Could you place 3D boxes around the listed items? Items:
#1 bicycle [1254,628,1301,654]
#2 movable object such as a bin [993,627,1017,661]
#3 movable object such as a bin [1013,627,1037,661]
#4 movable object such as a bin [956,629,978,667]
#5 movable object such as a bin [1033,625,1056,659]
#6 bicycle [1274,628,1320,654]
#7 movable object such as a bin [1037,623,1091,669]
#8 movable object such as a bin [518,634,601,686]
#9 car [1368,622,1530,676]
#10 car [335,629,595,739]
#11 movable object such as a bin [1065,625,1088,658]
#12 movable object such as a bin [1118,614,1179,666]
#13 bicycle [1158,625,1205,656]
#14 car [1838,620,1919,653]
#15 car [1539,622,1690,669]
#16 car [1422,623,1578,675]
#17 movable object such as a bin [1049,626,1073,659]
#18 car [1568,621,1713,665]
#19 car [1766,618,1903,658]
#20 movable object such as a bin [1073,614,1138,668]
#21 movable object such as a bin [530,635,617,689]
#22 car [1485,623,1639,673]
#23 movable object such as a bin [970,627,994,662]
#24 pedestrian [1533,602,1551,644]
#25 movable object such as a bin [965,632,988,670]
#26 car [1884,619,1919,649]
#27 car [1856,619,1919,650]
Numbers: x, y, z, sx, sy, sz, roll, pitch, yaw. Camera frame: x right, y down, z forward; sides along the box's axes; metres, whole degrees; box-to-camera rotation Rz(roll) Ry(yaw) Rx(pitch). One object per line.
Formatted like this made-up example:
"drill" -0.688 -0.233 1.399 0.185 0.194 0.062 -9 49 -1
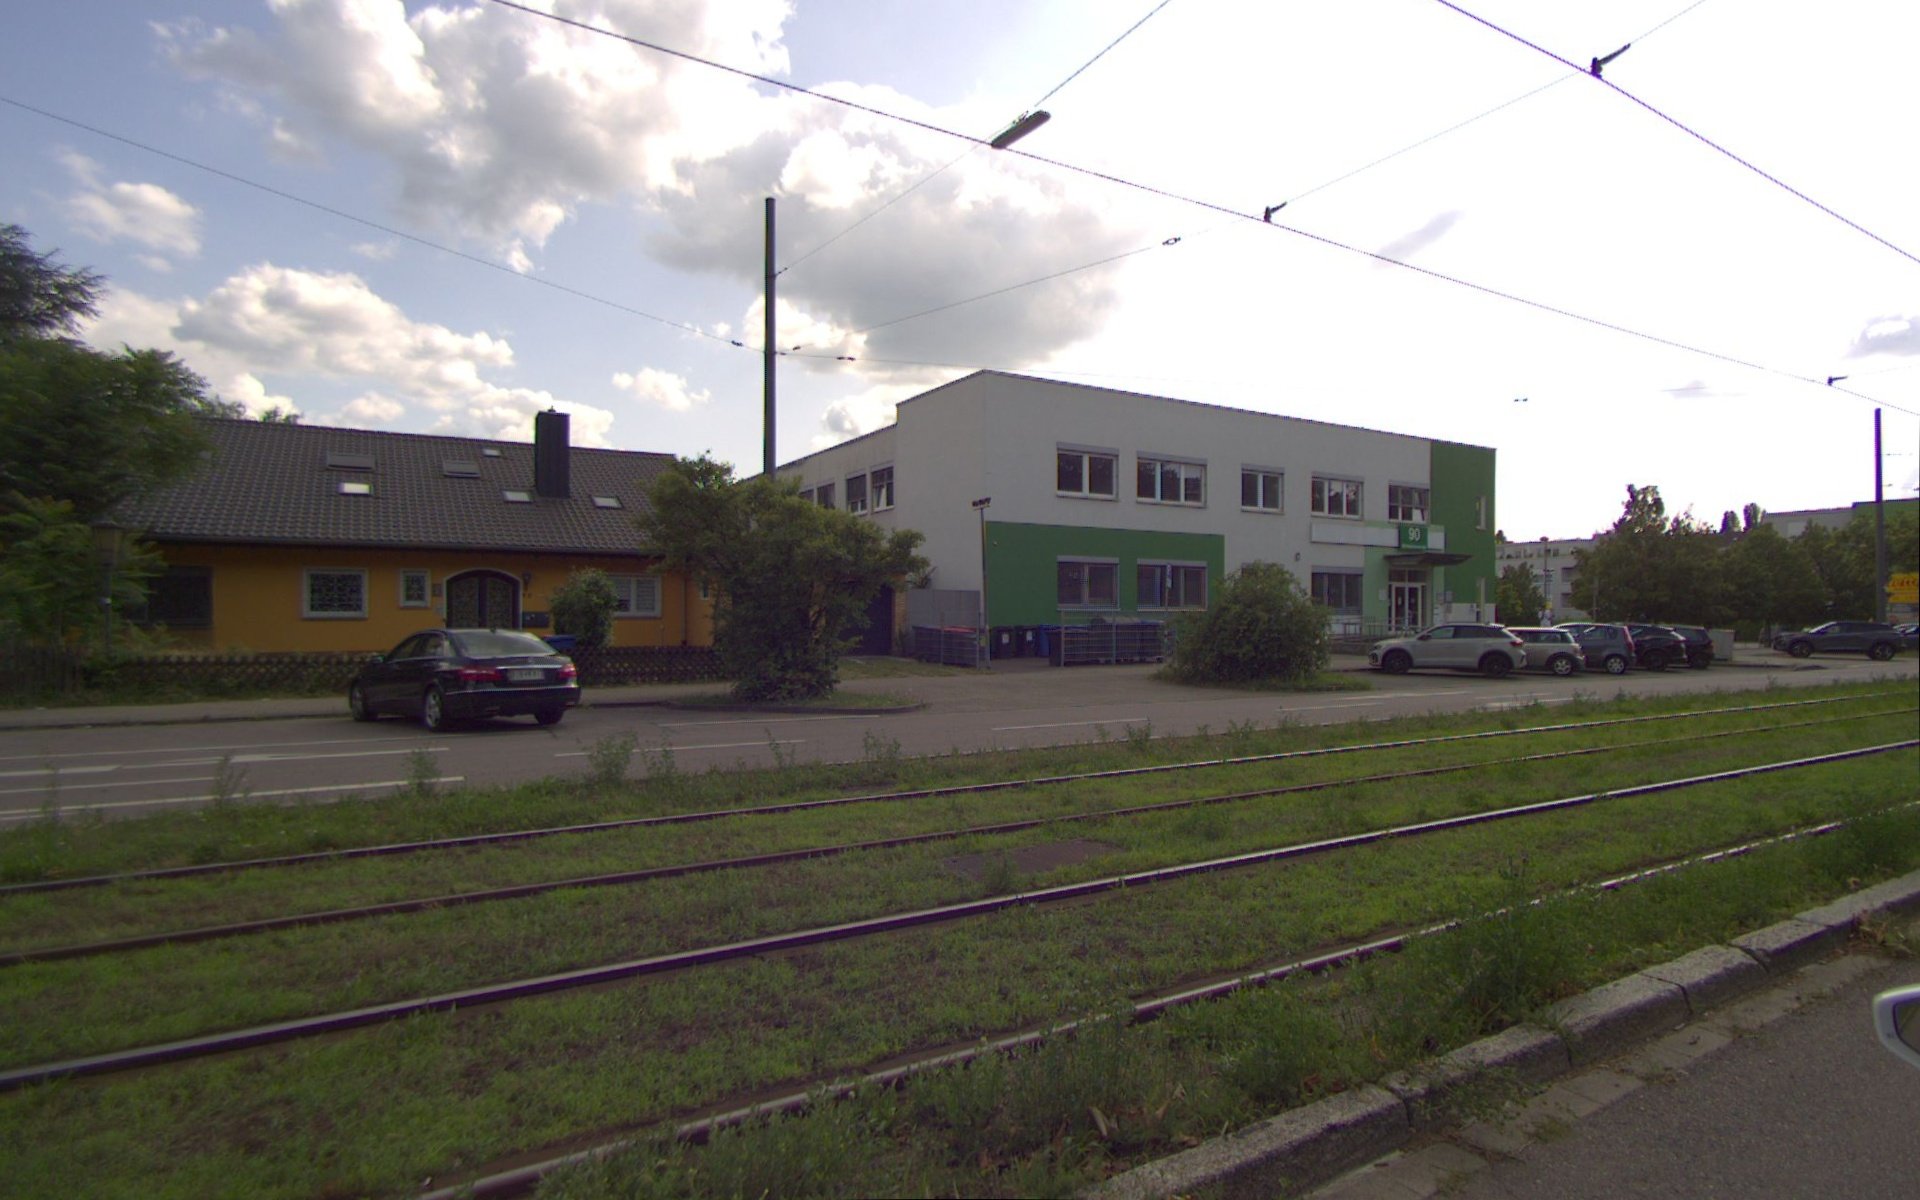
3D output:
"bicycle" 12.023 1.546 38.101 0.453 0.911 1.849 1 0 -30
"movable object such as a bin" 1.452 1.416 32.350 0.557 1.056 0.565 -1 1 -30
"movable object such as a bin" 2.117 1.418 32.714 0.557 1.056 0.565 -1 1 -30
"movable object such as a bin" 0.197 1.386 29.107 0.474 1.056 0.491 -1 1 -30
"movable object such as a bin" 2.785 1.375 33.094 0.557 1.056 0.565 -1 1 -30
"bicycle" 12.941 1.565 38.599 0.453 0.911 1.849 1 0 -30
"movable object such as a bin" 3.065 1.337 29.579 1.240 1.251 1.002 0 1 -28
"movable object such as a bin" -9.284 1.363 23.287 1.600 1.107 1.248 0 -1 -32
"car" 14.289 1.406 29.546 4.156 1.501 1.882 -1 -1 26
"car" -7.643 1.171 15.326 4.582 1.425 1.875 -1 -3 40
"movable object such as a bin" 3.915 1.390 33.740 0.557 1.056 0.565 -1 1 -30
"movable object such as a bin" 5.848 1.214 31.148 1.584 1.540 1.001 0 1 -28
"bicycle" 7.795 1.420 35.415 0.453 0.999 1.849 1 0 -30
"car" 45.280 1.765 48.363 4.154 1.502 1.882 1 0 24
"car" 22.047 1.520 34.038 4.160 1.501 1.879 -1 -1 31
"car" 16.690 1.477 31.137 4.160 1.501 1.879 -1 -1 31
"movable object such as a bin" 3.354 1.392 33.401 0.557 1.056 0.565 -1 1 -30
"car" 24.278 1.525 36.049 4.160 1.501 1.879 -1 -1 31
"car" 37.015 1.581 42.660 4.165 1.502 1.877 1 0 35
"movable object such as a bin" 4.390 1.201 30.319 1.690 1.540 1.001 0 1 -28
"movable object such as a bin" -8.495 1.335 22.060 1.600 1.115 1.248 0 -1 -32
"car" 19.406 1.517 32.528 4.160 1.501 1.879 -1 -1 31
"movable object such as a bin" 0.690 1.410 31.865 0.557 1.056 0.565 -1 1 -30
"pedestrian" 25.594 1.010 44.173 0.503 1.852 0.543 0 -1 -32
"movable object such as a bin" 0.469 1.446 28.622 0.476 1.056 0.502 -1 1 -30
"car" 50.343 1.775 51.336 4.154 1.502 1.882 1 0 24
"car" 47.669 1.738 50.013 4.154 1.502 1.882 1 0 24
